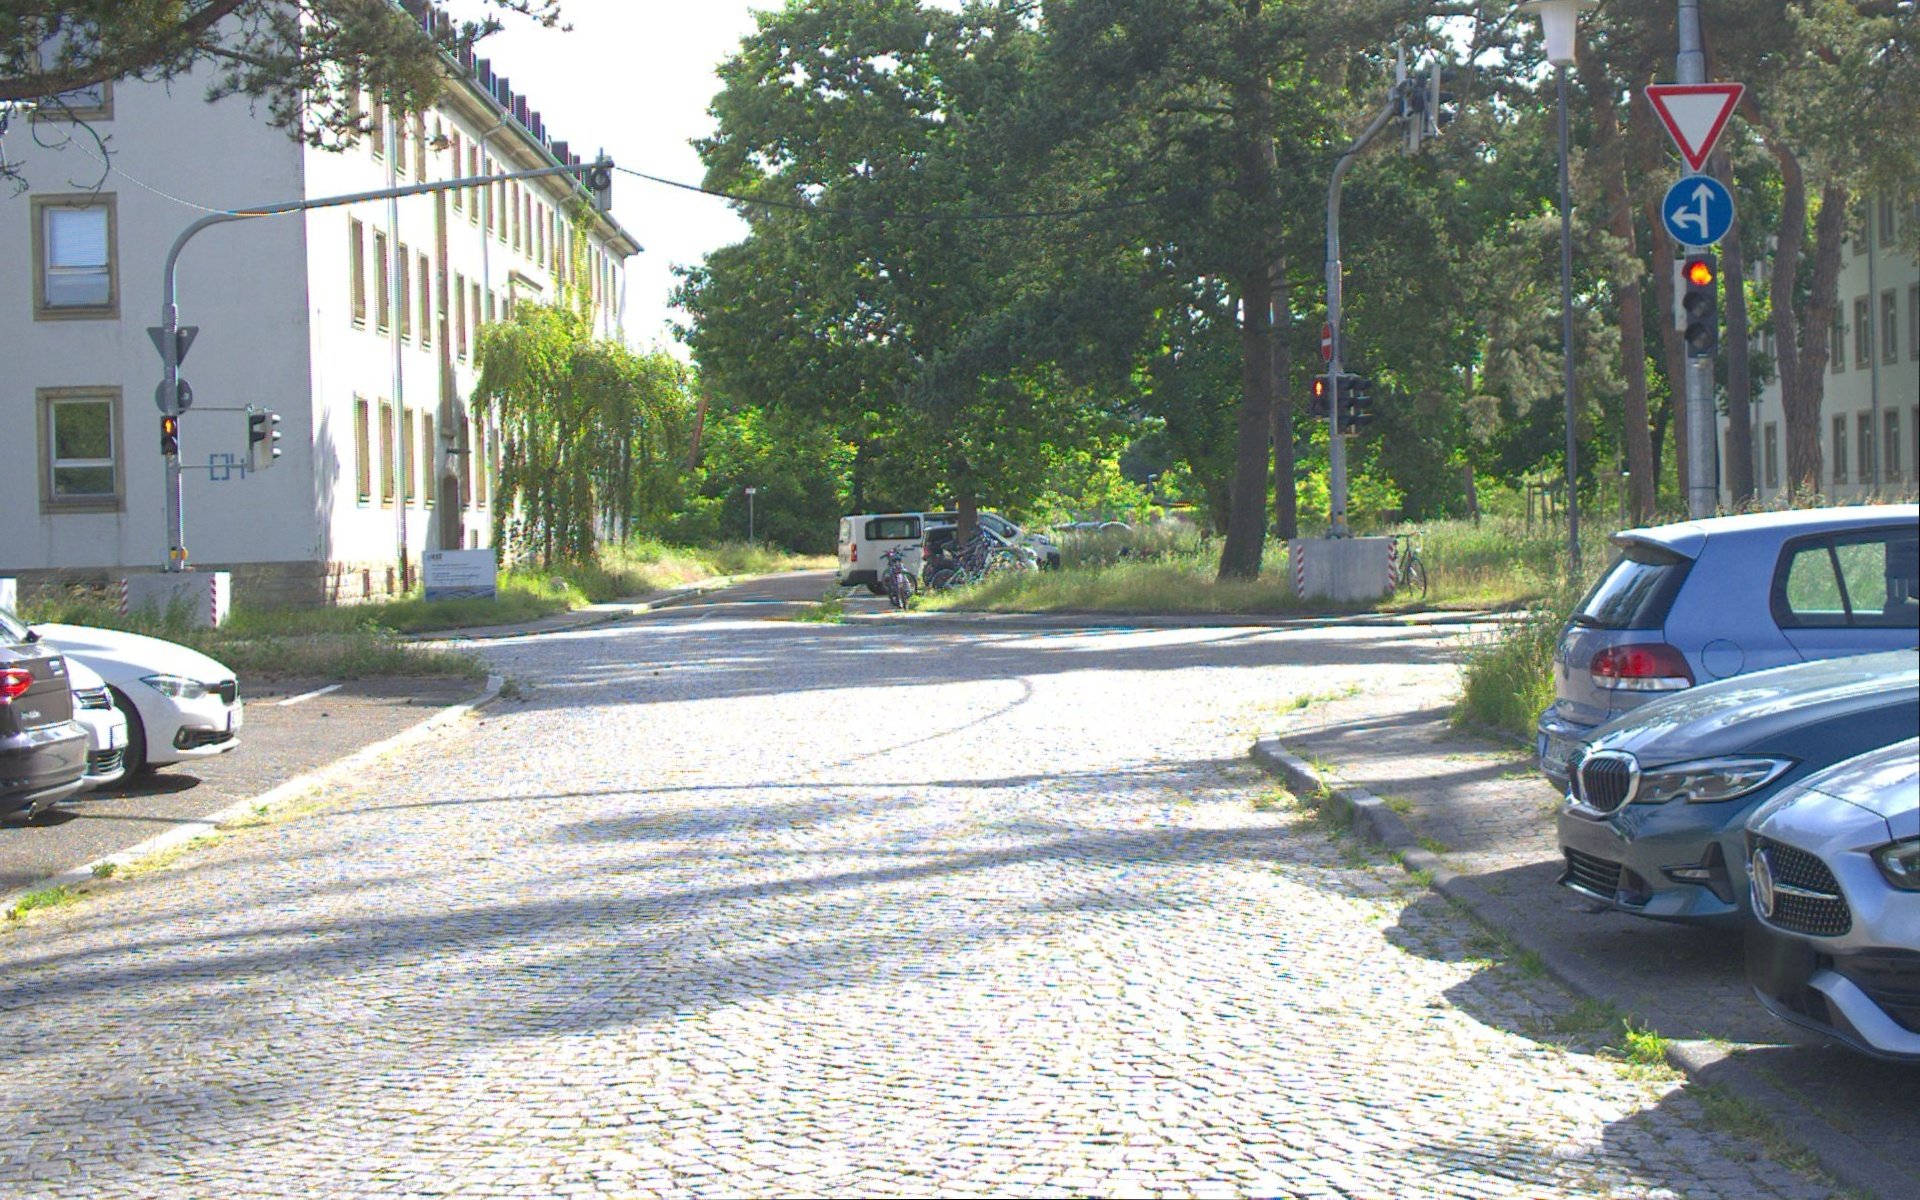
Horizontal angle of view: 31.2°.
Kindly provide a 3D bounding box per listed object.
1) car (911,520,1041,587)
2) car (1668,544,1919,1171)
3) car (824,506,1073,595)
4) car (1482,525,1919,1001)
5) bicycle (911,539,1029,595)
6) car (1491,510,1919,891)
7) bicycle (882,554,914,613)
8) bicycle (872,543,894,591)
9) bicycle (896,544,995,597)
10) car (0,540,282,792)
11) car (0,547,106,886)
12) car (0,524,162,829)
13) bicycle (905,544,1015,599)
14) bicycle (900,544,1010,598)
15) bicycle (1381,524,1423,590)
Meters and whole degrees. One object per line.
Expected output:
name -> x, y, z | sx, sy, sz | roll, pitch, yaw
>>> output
car -> 0.339, -1.052, 77.753 | 2.781, 1.462, 1.671 | 1, 1, -5
car -> 4.265, 0.500, 8.928 | 4.432, 1.410, 1.781 | -3, 2, 0
car -> -0.276, -1.160, 81.277 | 5.520, 2.007, 2.001 | 1, 1, -18
car -> 4.199, 0.426, 11.644 | 4.559, 1.410, 1.637 | -3, 2, 0
bicycle -> 0.182, -0.606, 63.283 | 2.109, 1.006, 0.621 | 1, 1, -8
car -> 4.325, 0.328, 14.423 | 3.882, 1.410, 1.637 | -3, 2, 0
bicycle -> -1.080, -0.287, 59.697 | 0.467, 1.006, 1.586 | 1, 1, -4
bicycle -> -1.628, -0.707, 72.934 | 0.417, 1.006, 1.483 | 1, 1, 0
bicycle -> -0.278, -0.571, 66.752 | 1.837, 1.006, 0.636 | 1, 1, -8
car -> -6.543, 0.365, 21.404 | 4.333, 1.463, 1.831 | 1, 2, -3
car -> -6.191, 0.482, 16.089 | 3.986, 1.475, 1.803 | 1, 2, -3
car -> -6.657, 0.366, 19.048 | 4.080, 1.588, 1.886 | 1, 2, -3
bicycle -> -0.005, -0.544, 64.996 | 2.004, 1.006, 0.632 | 1, 1, -8
bicycle -> -0.091, -0.557, 65.879 | 2.027, 1.006, 0.627 | 1, 1, -8
bicycle -> 6.578, -0.638, 51.191 | 0.300, 0.957, 1.586 | 1, 1, -4
